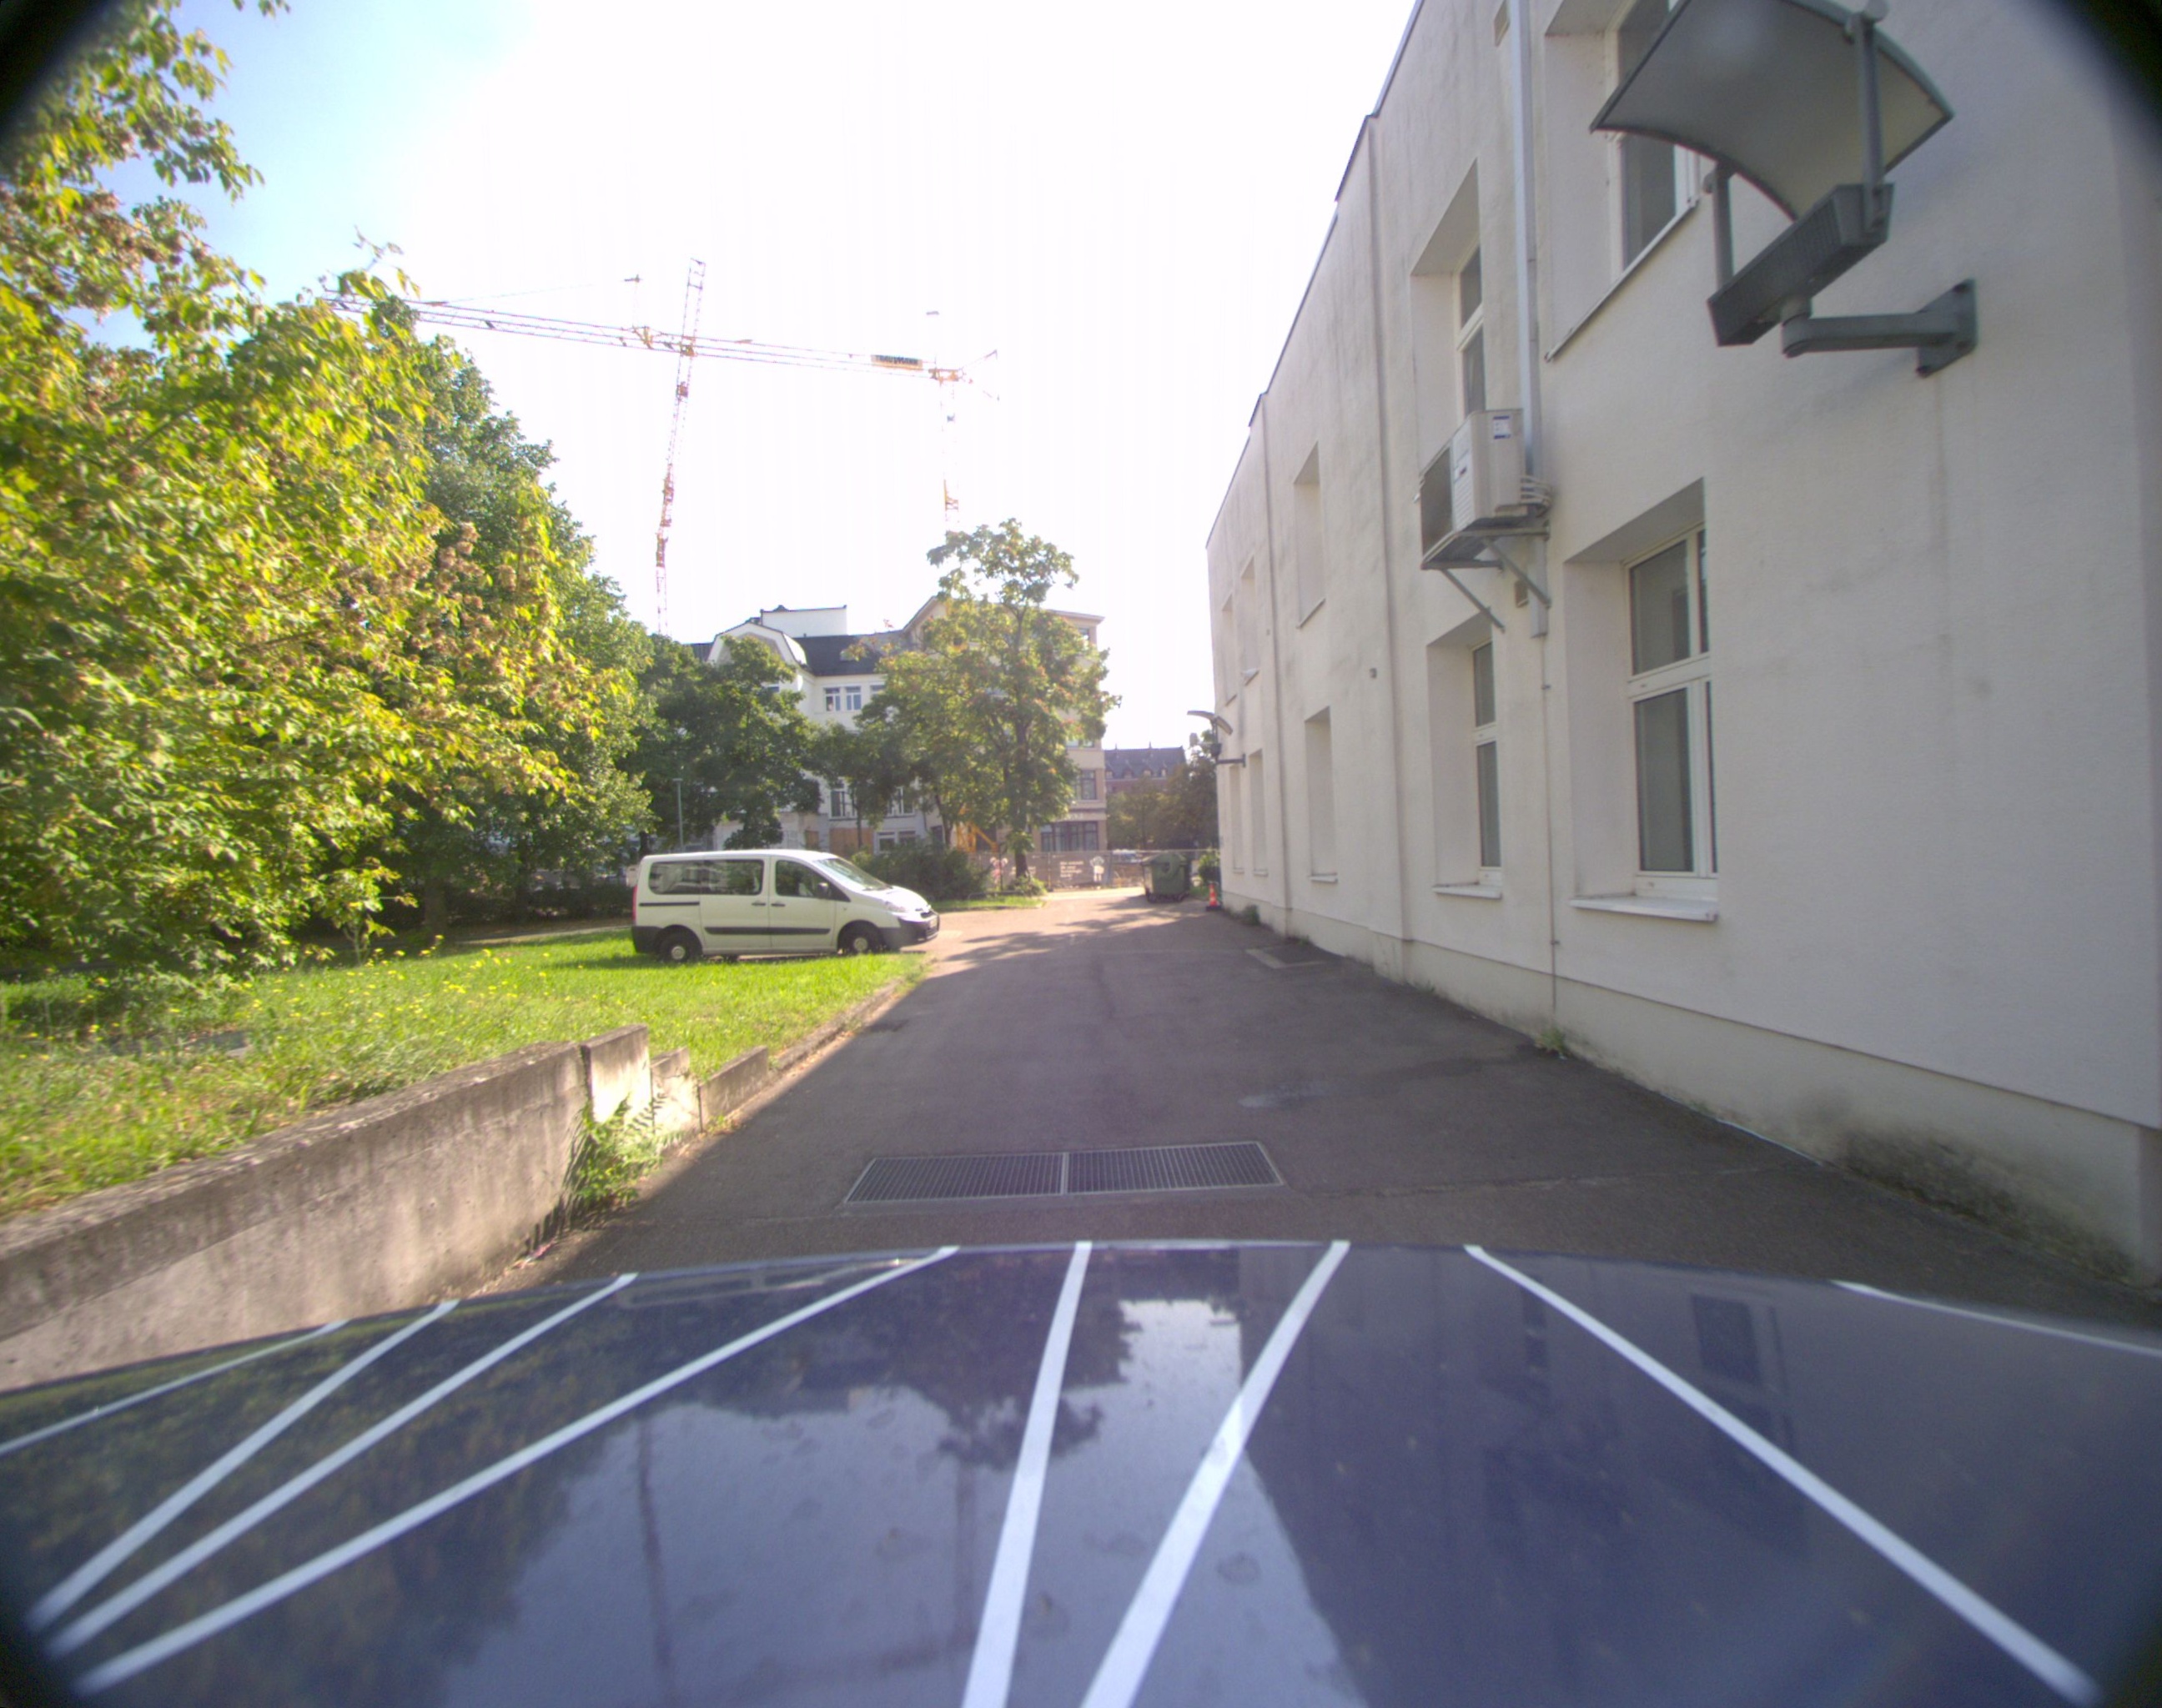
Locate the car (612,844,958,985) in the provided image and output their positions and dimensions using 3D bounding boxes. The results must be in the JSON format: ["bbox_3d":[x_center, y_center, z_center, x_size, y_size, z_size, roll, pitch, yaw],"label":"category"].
[{"bbox_3d":[-4.821,0.947,12.925,4.969,1.910,2.044,-4,1,2],"label":"car"}]

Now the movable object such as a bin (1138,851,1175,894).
[{"bbox_3d":[2.805,0.675,28.274,1.037,1.489,1.106,-3,1,-11],"label":"movable object such as a bin"}]

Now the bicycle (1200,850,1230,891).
[{"bbox_3d":[4.173,0.491,23.780,0.477,1.206,2.008,-3,1,-1],"label":"bicycle"}]

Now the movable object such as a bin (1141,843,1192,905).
[{"bbox_3d":[2.473,0.550,22.269,1.184,1.696,1.376,-3,1,-3],"label":"movable object such as a bin"}]

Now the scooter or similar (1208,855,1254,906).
[{"bbox_3d":[3.829,0.659,19.518,0.386,1.255,1.493,-4,1,-19],"label":"scooter or similar"}]

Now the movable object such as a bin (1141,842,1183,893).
[{"bbox_3d":[2.839,0.472,26.872,1.184,1.696,1.376,-3,1,-3],"label":"movable object such as a bin"}]

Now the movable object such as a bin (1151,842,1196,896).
[{"bbox_3d":[3.095,0.476,25.472,1.184,1.696,1.376,-3,1,-3],"label":"movable object such as a bin"}]

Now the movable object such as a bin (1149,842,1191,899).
[{"bbox_3d":[2.803,0.510,24.066,1.183,1.696,1.395,-3,1,4],"label":"movable object such as a bin"}]
